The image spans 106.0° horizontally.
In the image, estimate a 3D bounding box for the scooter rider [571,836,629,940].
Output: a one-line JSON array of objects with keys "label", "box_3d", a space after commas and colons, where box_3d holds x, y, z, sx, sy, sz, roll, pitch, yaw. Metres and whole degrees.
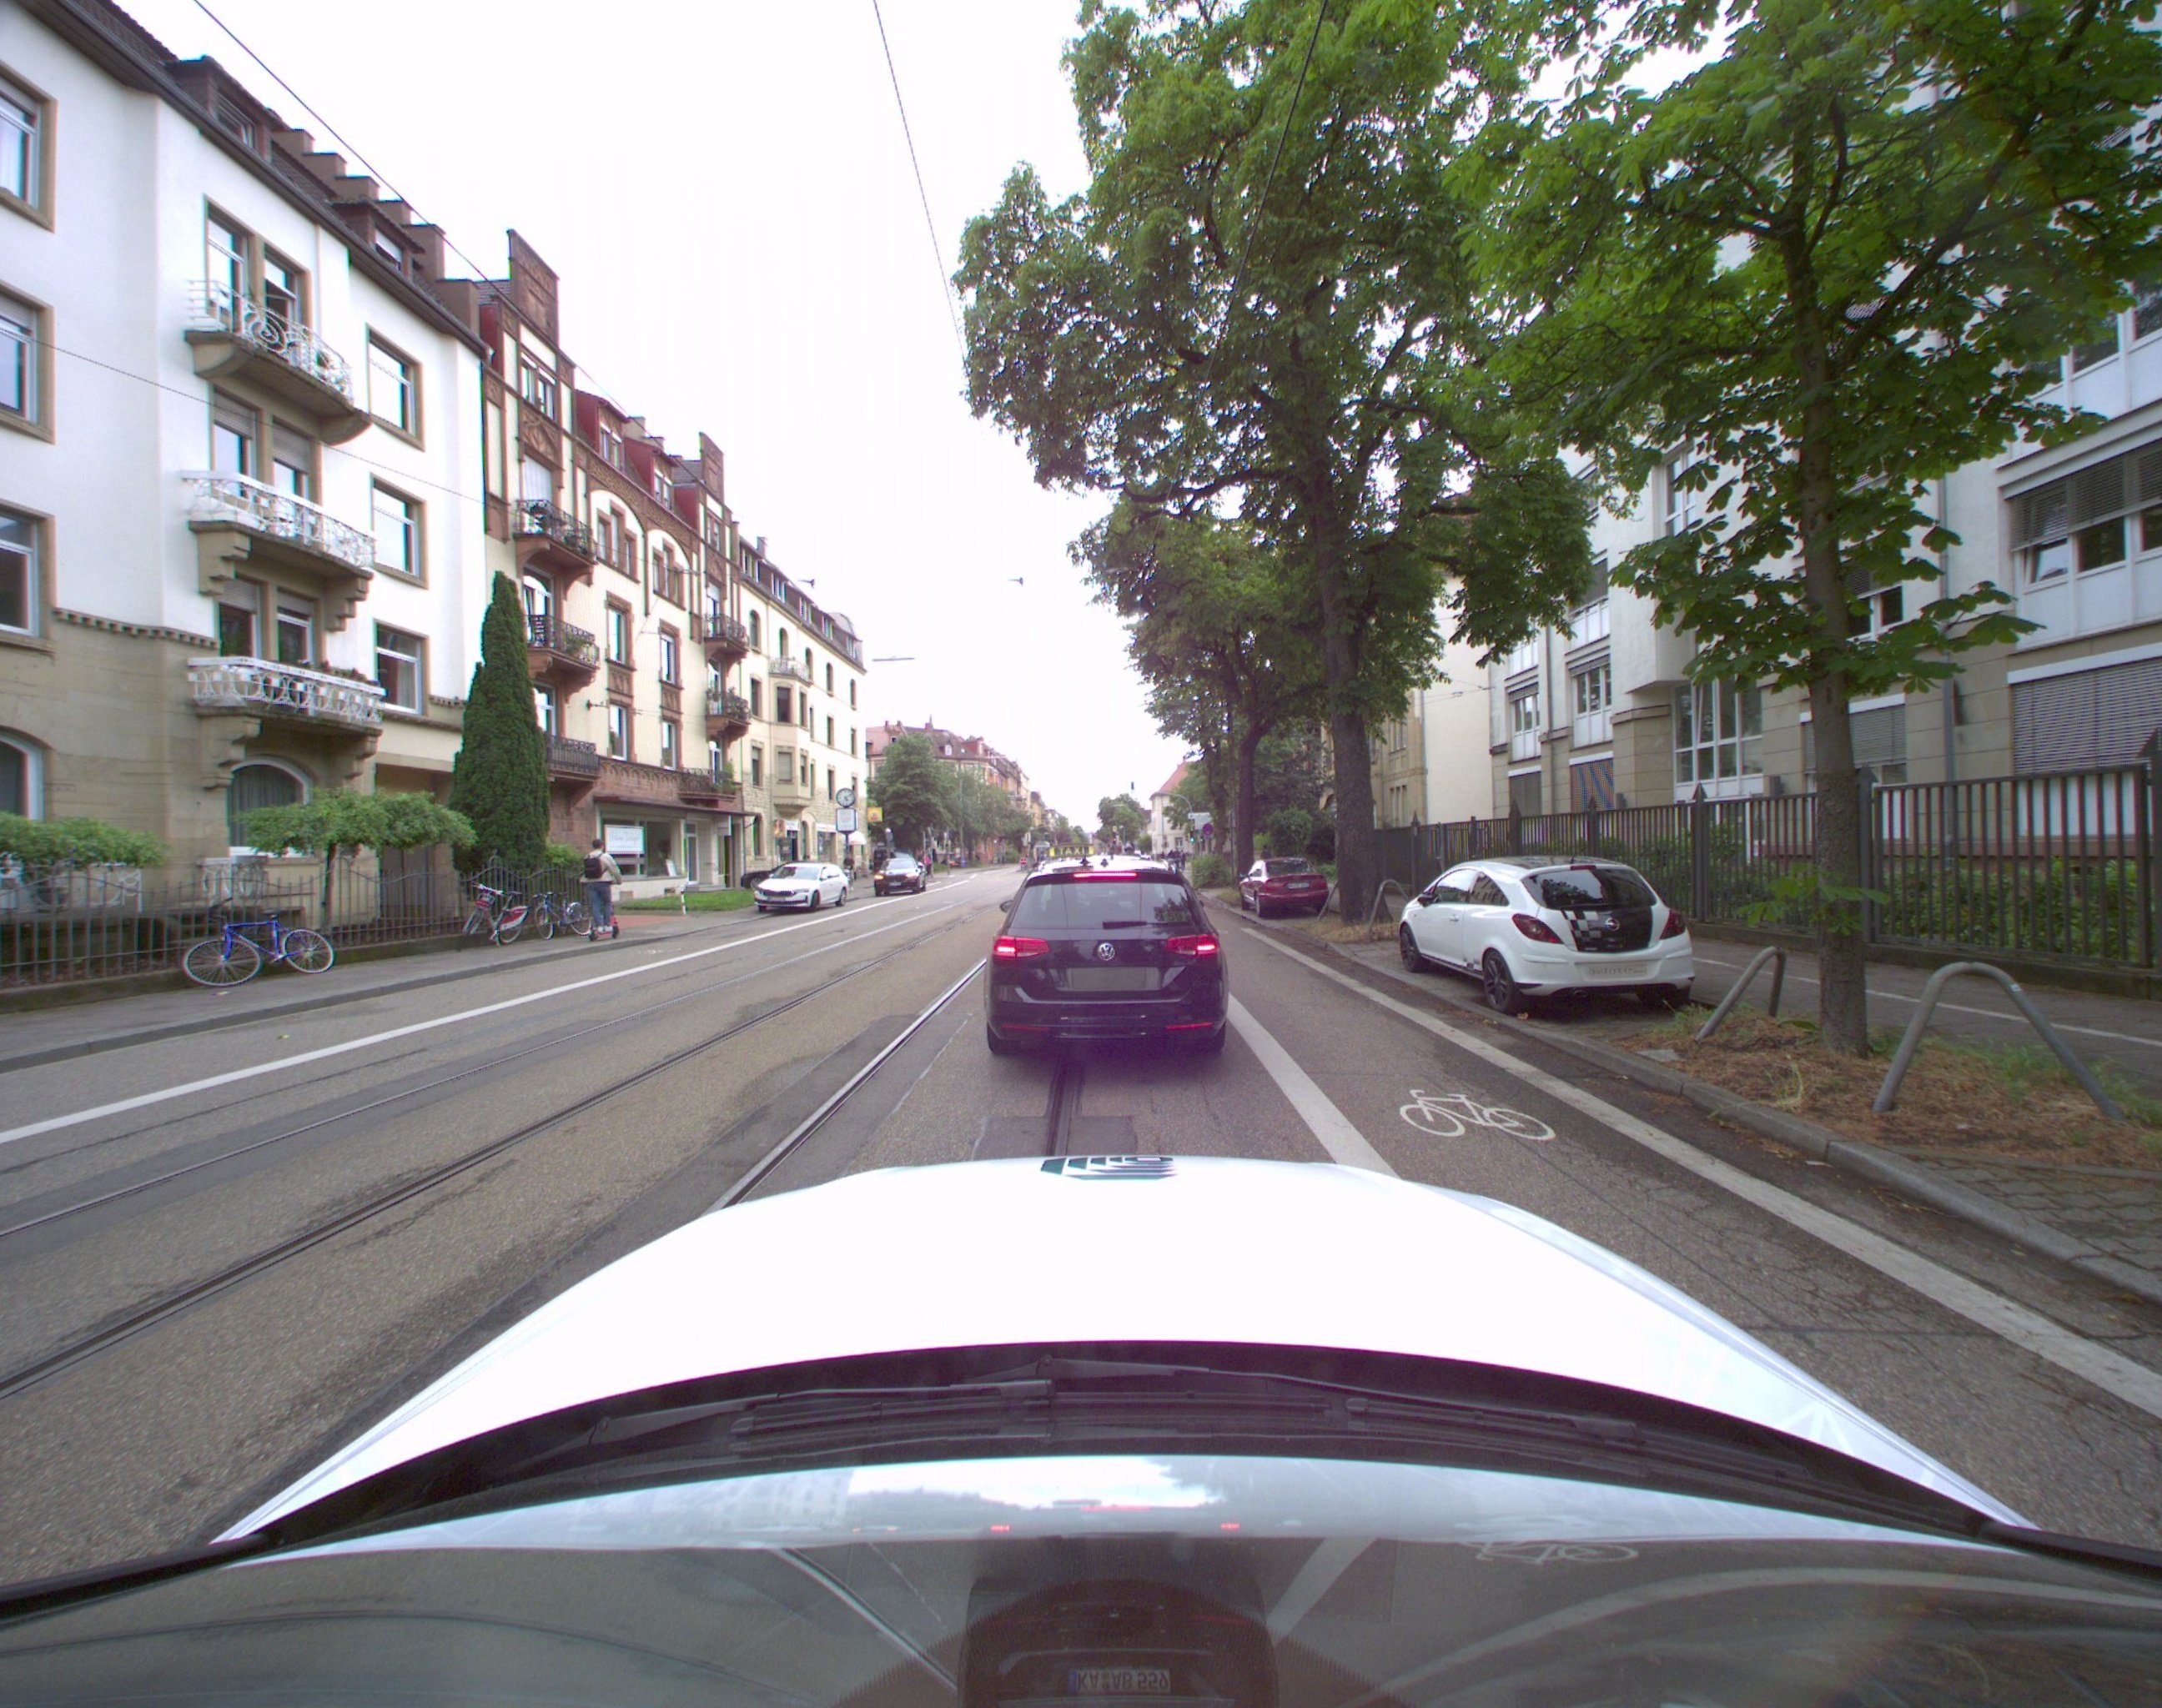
[{"label": "scooter rider", "box_3d": [-9.641, 0.669, 16.331, 0.639, 2.013, 0.758, -2, 0, 1]}]

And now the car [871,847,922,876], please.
[{"label": "car", "box_3d": [-16.626, 0.703, 73.098, 2.197, 2.417, 5.316, -1, 0, -41]}]

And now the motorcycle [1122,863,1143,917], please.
[{"label": "motorcycle", "box_3d": [1.272, 0.872, 20.375, 0.445, 1.235, 1.907, -2, 0, 2]}]

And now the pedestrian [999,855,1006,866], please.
[{"label": "pedestrian", "box_3d": [-10.911, 0.843, 113.409, 0.582, 1.520, 0.653, -2, 0, 37]}]

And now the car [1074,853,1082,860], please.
[{"label": "car", "box_3d": [-0.634, 0.517, 182.816, 1.715, 1.622, 3.864, -2, 0, 1]}]

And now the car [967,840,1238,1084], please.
[{"label": "car", "box_3d": [0.204, 0.691, 7.242, 1.717, 1.546, 4.002, -1, 0, 2]}]

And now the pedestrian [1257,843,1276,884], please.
[{"label": "pedestrian", "box_3d": [8.336, 0.410, 36.596, 0.630, 1.815, 0.726, -2, 0, -1]}]

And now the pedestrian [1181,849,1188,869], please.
[{"label": "pedestrian", "box_3d": [7.944, 0.377, 62.421, 0.447, 1.562, 0.480, -2, 0, 9]}]

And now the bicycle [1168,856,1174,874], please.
[{"label": "bicycle", "box_3d": [6.244, 0.745, 56.347, 0.251, 1.196, 1.160, -2, 0, 11]}]

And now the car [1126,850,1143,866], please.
[{"label": "car", "box_3d": [7.202, 0.559, 109.959, 2.025, 2.014, 4.001, 0, -1, 2]}]

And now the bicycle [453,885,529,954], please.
[{"label": "bicycle", "box_3d": [-10.550, 1.135, 14.614, 0.385, 1.102, 1.620, -2, 0, -10]}]

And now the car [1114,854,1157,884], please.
[{"label": "car", "box_3d": [2.877, 0.769, 42.517, 1.881, 1.408, 4.009, -2, 0, 8]}]

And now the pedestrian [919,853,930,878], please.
[{"label": "pedestrian", "box_3d": [-11.449, 0.825, 59.693, 0.621, 1.842, 0.609, -2, 0, -1]}]

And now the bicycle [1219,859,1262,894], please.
[{"label": "bicycle", "box_3d": [5.567, 0.763, 28.435, 1.915, 1.198, 0.428, 0, -1, -43]}]

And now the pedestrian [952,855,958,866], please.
[{"label": "pedestrian", "box_3d": [-17.212, 0.872, 111.281, 0.582, 1.520, 0.653, -2, 0, 37]}]

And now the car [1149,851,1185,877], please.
[{"label": "car", "box_3d": [5.390, 0.626, 51.742, 1.986, 1.577, 4.001, 0, -1, 2]}]

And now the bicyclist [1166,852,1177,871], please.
[{"label": "bicyclist", "box_3d": [6.284, 0.526, 56.421, 0.647, 1.302, 0.697, -2, 0, 9]}]

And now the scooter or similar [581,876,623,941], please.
[{"label": "scooter or similar", "box_3d": [-9.604, 1.068, 16.352, 0.230, 1.234, 0.954, -2, 0, 2]}]

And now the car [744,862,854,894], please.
[{"label": "car", "box_3d": [-13.023, 1.101, 37.780, 4.415, 1.370, 1.878, 1, 0, -3]}]

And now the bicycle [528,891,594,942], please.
[{"label": "bicycle", "box_3d": [-10.709, 1.264, 16.815, 0.331, 0.938, 1.516, -2, 0, 1]}]

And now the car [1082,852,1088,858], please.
[{"label": "car", "box_3d": [1.064, 0.214, 216.090, 1.715, 1.622, 3.864, -2, 0, 1]}]

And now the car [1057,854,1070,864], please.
[{"label": "car", "box_3d": [-3.015, 0.846, 143.070, 1.985, 1.791, 4.004, 0, -1, 4]}]

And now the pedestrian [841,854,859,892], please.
[{"label": "pedestrian", "box_3d": [-11.352, 0.910, 40.016, 0.667, 1.844, 0.880, -2, 0, -6]}]

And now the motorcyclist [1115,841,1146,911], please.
[{"label": "motorcyclist", "box_3d": [1.221, 0.533, 20.377, 0.700, 1.692, 0.805, -2, 0, 1]}]

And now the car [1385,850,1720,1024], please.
[{"label": "car", "box_3d": [4.824, 0.719, 9.012, 1.596, 1.435, 3.779, -3, 0, 3]}]

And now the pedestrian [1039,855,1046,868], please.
[{"label": "pedestrian", "box_3d": [-4.522, 0.872, 95.928, 0.711, 1.520, 0.590, -2, 0, 3]}]

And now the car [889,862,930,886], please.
[{"label": "car", "box_3d": [-10.589, 1.203, 50.551, 1.644, 1.361, 4.128, 1, 0, -1]}]

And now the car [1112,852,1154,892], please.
[{"label": "car", "box_3d": [2.081, 0.707, 33.563, 1.600, 1.556, 3.579, 0, -1, 2]}]

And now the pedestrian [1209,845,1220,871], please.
[{"label": "pedestrian", "box_3d": [9.508, 0.292, 58.004, 0.510, 1.831, 0.420, -5, 0, 18]}]

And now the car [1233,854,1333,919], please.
[{"label": "car", "box_3d": [5.089, 0.766, 21.068, 1.596, 1.399, 4.229, -3, 0, 2]}]

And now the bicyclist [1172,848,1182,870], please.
[{"label": "bicyclist", "box_3d": [6.967, 0.329, 59.363, 0.647, 1.568, 0.697, -2, 0, 8]}]

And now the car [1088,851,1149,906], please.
[{"label": "car", "box_3d": [1.145, 0.692, 25.332, 1.717, 1.546, 4.002, -1, 0, 2]}]

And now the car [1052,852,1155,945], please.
[{"label": "car", "box_3d": [0.442, 0.749, 15.767, 1.717, 1.546, 4.002, -1, 0, 2]}]

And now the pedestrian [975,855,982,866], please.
[{"label": "pedestrian", "box_3d": [-13.952, 0.843, 110.730, 0.582, 1.520, 0.653, -2, 0, 37]}]

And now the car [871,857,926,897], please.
[{"label": "car", "box_3d": [-8.421, 1.007, 37.946, 1.881, 1.611, 4.875, -4, 0, -7]}]

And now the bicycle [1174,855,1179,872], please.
[{"label": "bicycle", "box_3d": [6.946, 0.662, 59.289, 0.295, 1.223, 1.434, -2, 0, 9]}]

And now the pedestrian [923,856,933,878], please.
[{"label": "pedestrian", "box_3d": [-11.800, 0.965, 62.864, 0.587, 1.663, 0.839, -2, 0, -2]}]

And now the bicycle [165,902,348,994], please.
[{"label": "bicycle", "box_3d": [-10.821, 1.199, 10.777, 0.356, 0.928, 1.663, -21, 0, 4]}]

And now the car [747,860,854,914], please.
[{"label": "car", "box_3d": [-8.915, 0.983, 26.293, 1.741, 1.484, 4.609, -2, 0, 1]}]
